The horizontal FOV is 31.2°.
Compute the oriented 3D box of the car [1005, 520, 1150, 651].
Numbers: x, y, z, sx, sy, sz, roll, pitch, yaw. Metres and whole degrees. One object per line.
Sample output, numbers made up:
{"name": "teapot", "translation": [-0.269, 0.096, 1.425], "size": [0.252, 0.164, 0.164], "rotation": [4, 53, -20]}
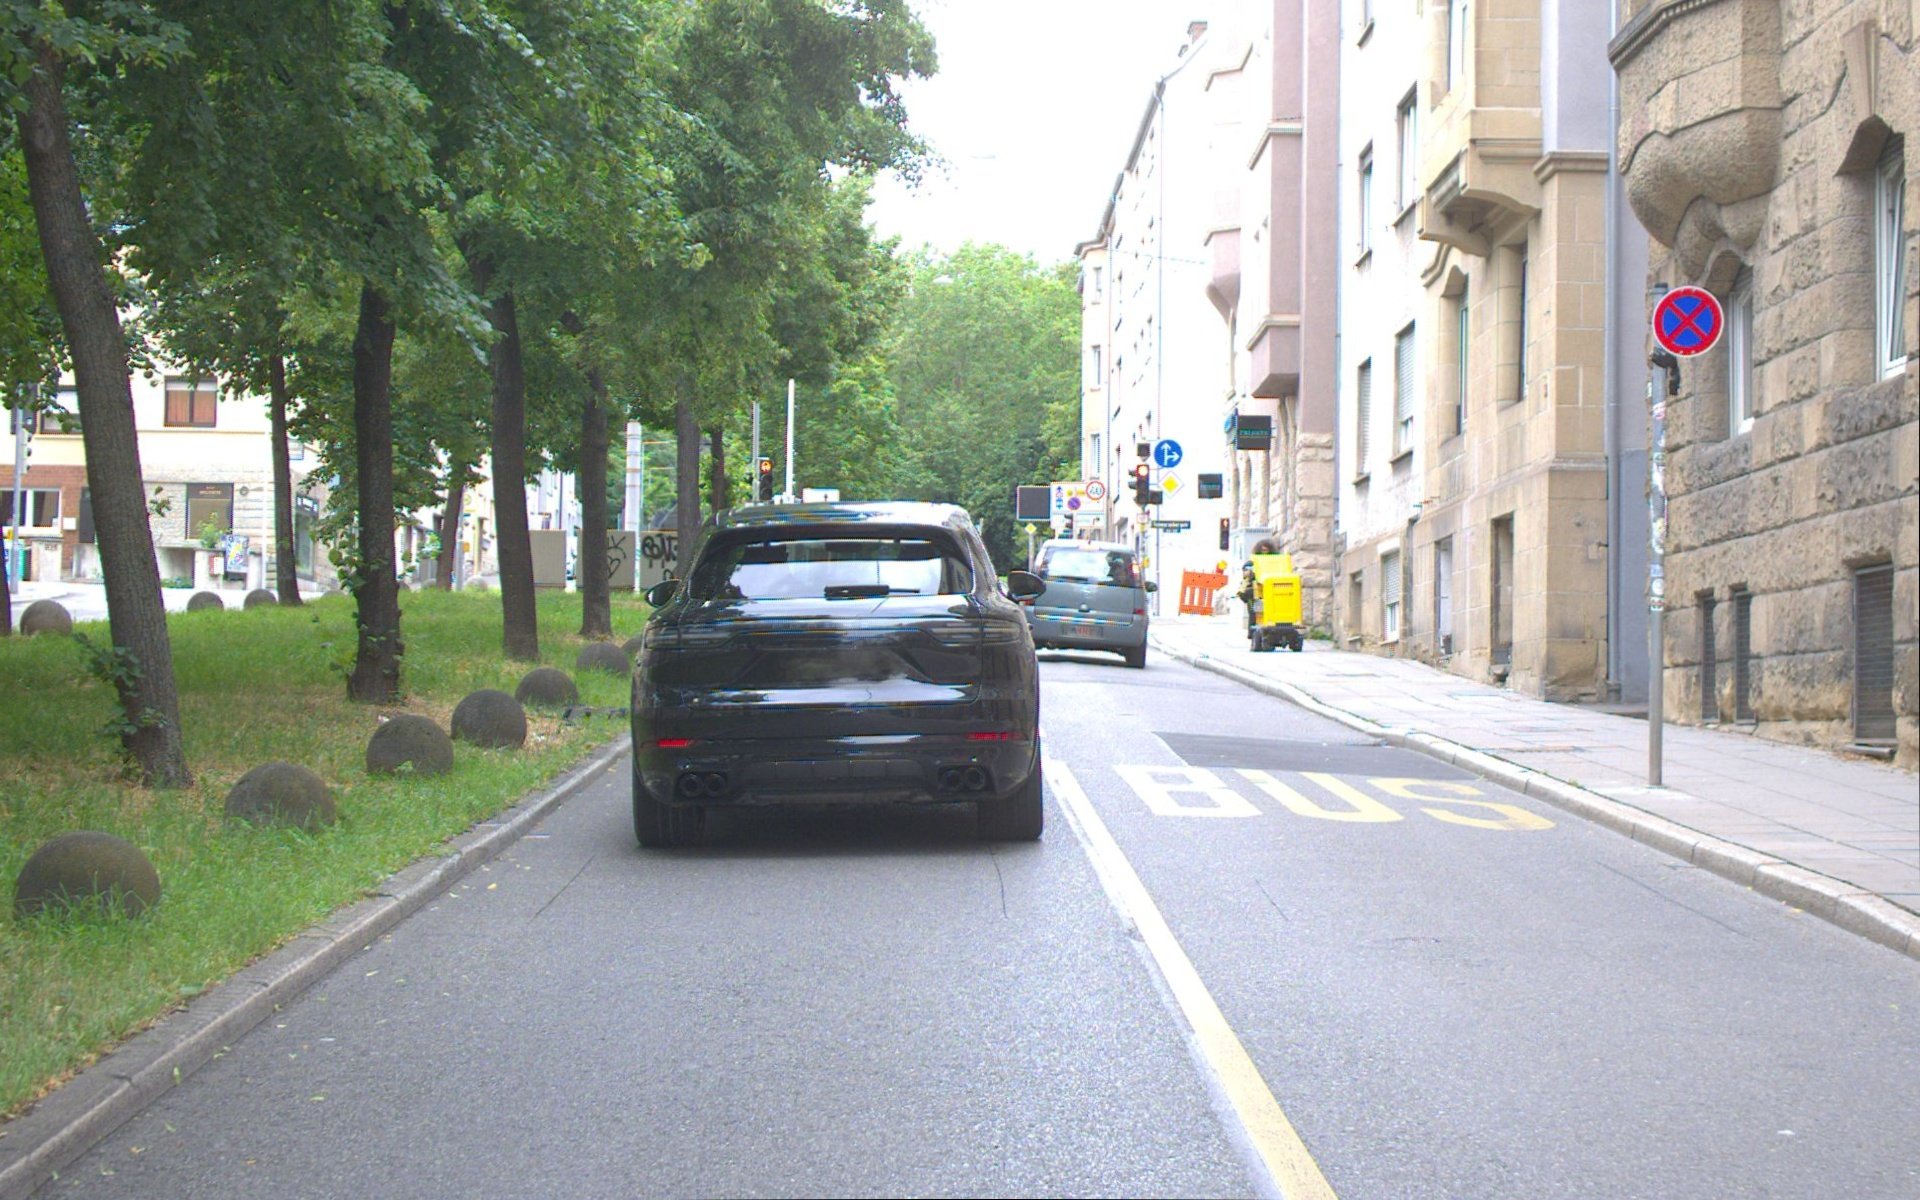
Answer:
{"name": "car", "translation": [1.510, -0.222, 45.440], "size": [1.752, 1.588, 3.631], "rotation": [2, 2, 0]}

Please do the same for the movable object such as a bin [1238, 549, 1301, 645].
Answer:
{"name": "movable object such as a bin", "translation": [4.631, -0.036, 51.439], "size": [0.719, 1.416, 1.693], "rotation": [0, 0, -2]}

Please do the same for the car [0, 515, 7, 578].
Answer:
{"name": "car", "translation": [-27.335, -1.427, 90.945], "size": [3.994, 1.660, 1.879], "rotation": [0, -1, 33]}

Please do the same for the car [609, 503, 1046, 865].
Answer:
{"name": "car", "translation": [-0.597, 0.343, 17.703], "size": [1.994, 1.647, 4.000], "rotation": [0, 1, 0]}
